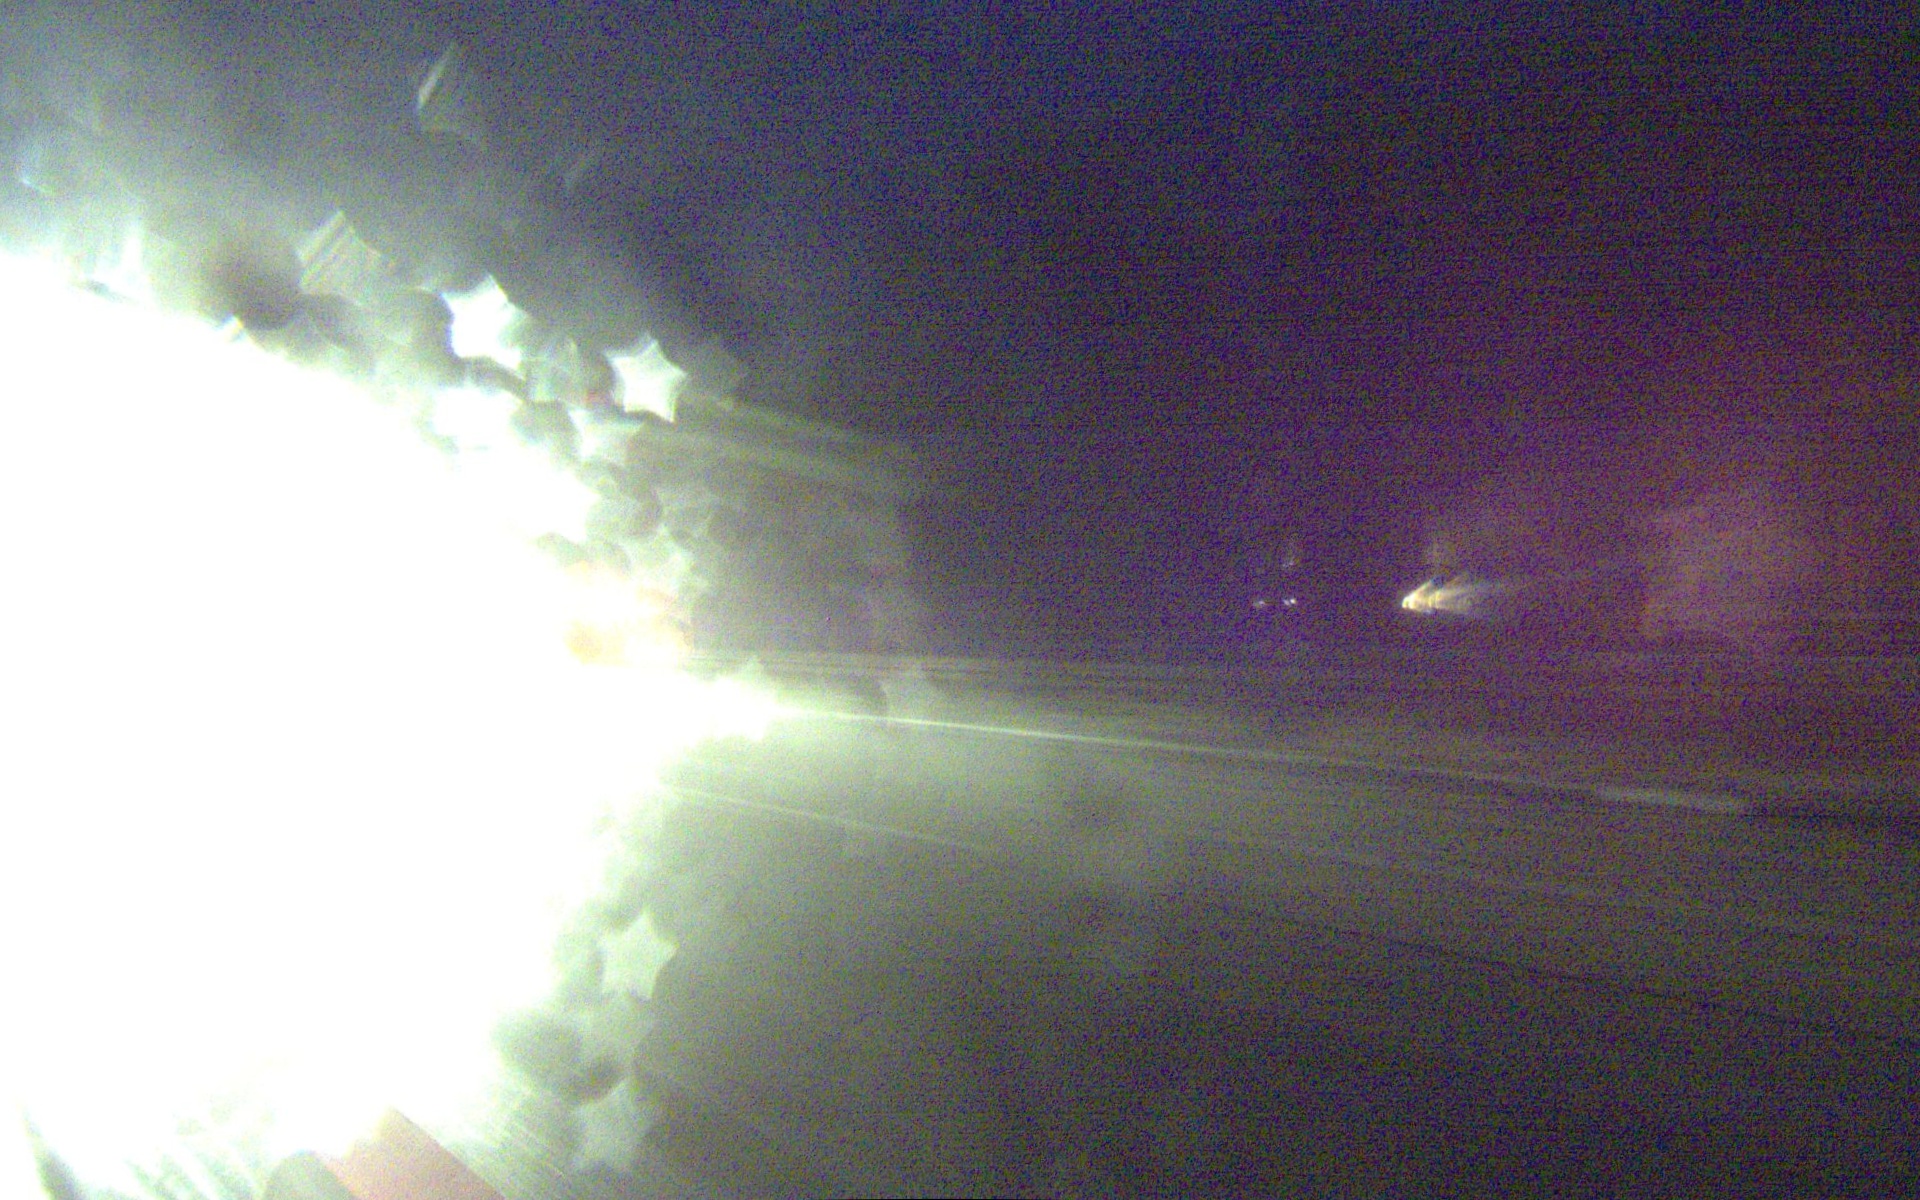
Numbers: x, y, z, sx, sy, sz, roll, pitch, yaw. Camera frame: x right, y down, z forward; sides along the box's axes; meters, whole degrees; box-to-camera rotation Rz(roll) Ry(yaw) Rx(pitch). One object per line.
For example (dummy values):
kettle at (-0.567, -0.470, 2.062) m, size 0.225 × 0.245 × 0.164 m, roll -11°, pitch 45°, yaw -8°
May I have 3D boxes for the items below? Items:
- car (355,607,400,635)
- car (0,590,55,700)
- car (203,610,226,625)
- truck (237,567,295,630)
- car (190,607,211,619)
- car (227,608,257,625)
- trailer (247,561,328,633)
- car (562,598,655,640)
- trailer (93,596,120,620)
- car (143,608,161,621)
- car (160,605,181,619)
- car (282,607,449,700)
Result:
car at (-38.638, 1.404, 67.139) m, size 1.968 × 1.741 × 4.007 m, roll -1°, pitch 0°, yaw -39°
car at (-20.232, 0.922, 21.222) m, size 1.729 × 2.121 × 4.467 m, roll 0°, pitch -1°, yaw -44°
car at (-89.729, 2.079, 121.737) m, size 1.786 × 1.624 × 4.203 m, roll -1°, pitch -1°, yaw -42°
truck at (-50.743, -0.135, 73.944) m, size 2.535 × 4.437 × 5.856 m, roll -2°, pitch 1°, yaw -44°
car at (-99.414, 1.729, 132.427) m, size 1.743 × 1.506 × 3.807 m, roll -1°, pitch 1°, yaw -43°
car at (-75.582, 1.729, 106.521) m, size 4.335 × 1.660 × 1.821 m, roll 0°, pitch 1°, yaw 45°
trailer at (-45.604, -0.218, 68.395) m, size 2.544 × 4.490 × 12.507 m, roll -2°, pitch 1°, yaw -42°
car at (-14.975, 0.787, 43.058) m, size 4.194 × 1.655 × 1.878 m, roll 0°, pitch 1°, yaw 41°
trailer at (-156.556, 1.459, 185.581) m, size 3.315 × 4.205 × 11.733 m, roll -2°, pitch 0°, yaw -42°
car at (-129.814, 2.315, 162.516) m, size 1.868 × 1.924 × 4.849 m, roll -1°, pitch 1°, yaw -43°
car at (-114.210, 1.713, 146.358) m, size 1.963 × 1.924 × 5.142 m, roll -1°, pitch 1°, yaw -43°
car at (-11.349, 0.966, 19.233) m, size 3.847 × 1.587 × 1.632 m, roll -2°, pitch -2°, yaw 41°
